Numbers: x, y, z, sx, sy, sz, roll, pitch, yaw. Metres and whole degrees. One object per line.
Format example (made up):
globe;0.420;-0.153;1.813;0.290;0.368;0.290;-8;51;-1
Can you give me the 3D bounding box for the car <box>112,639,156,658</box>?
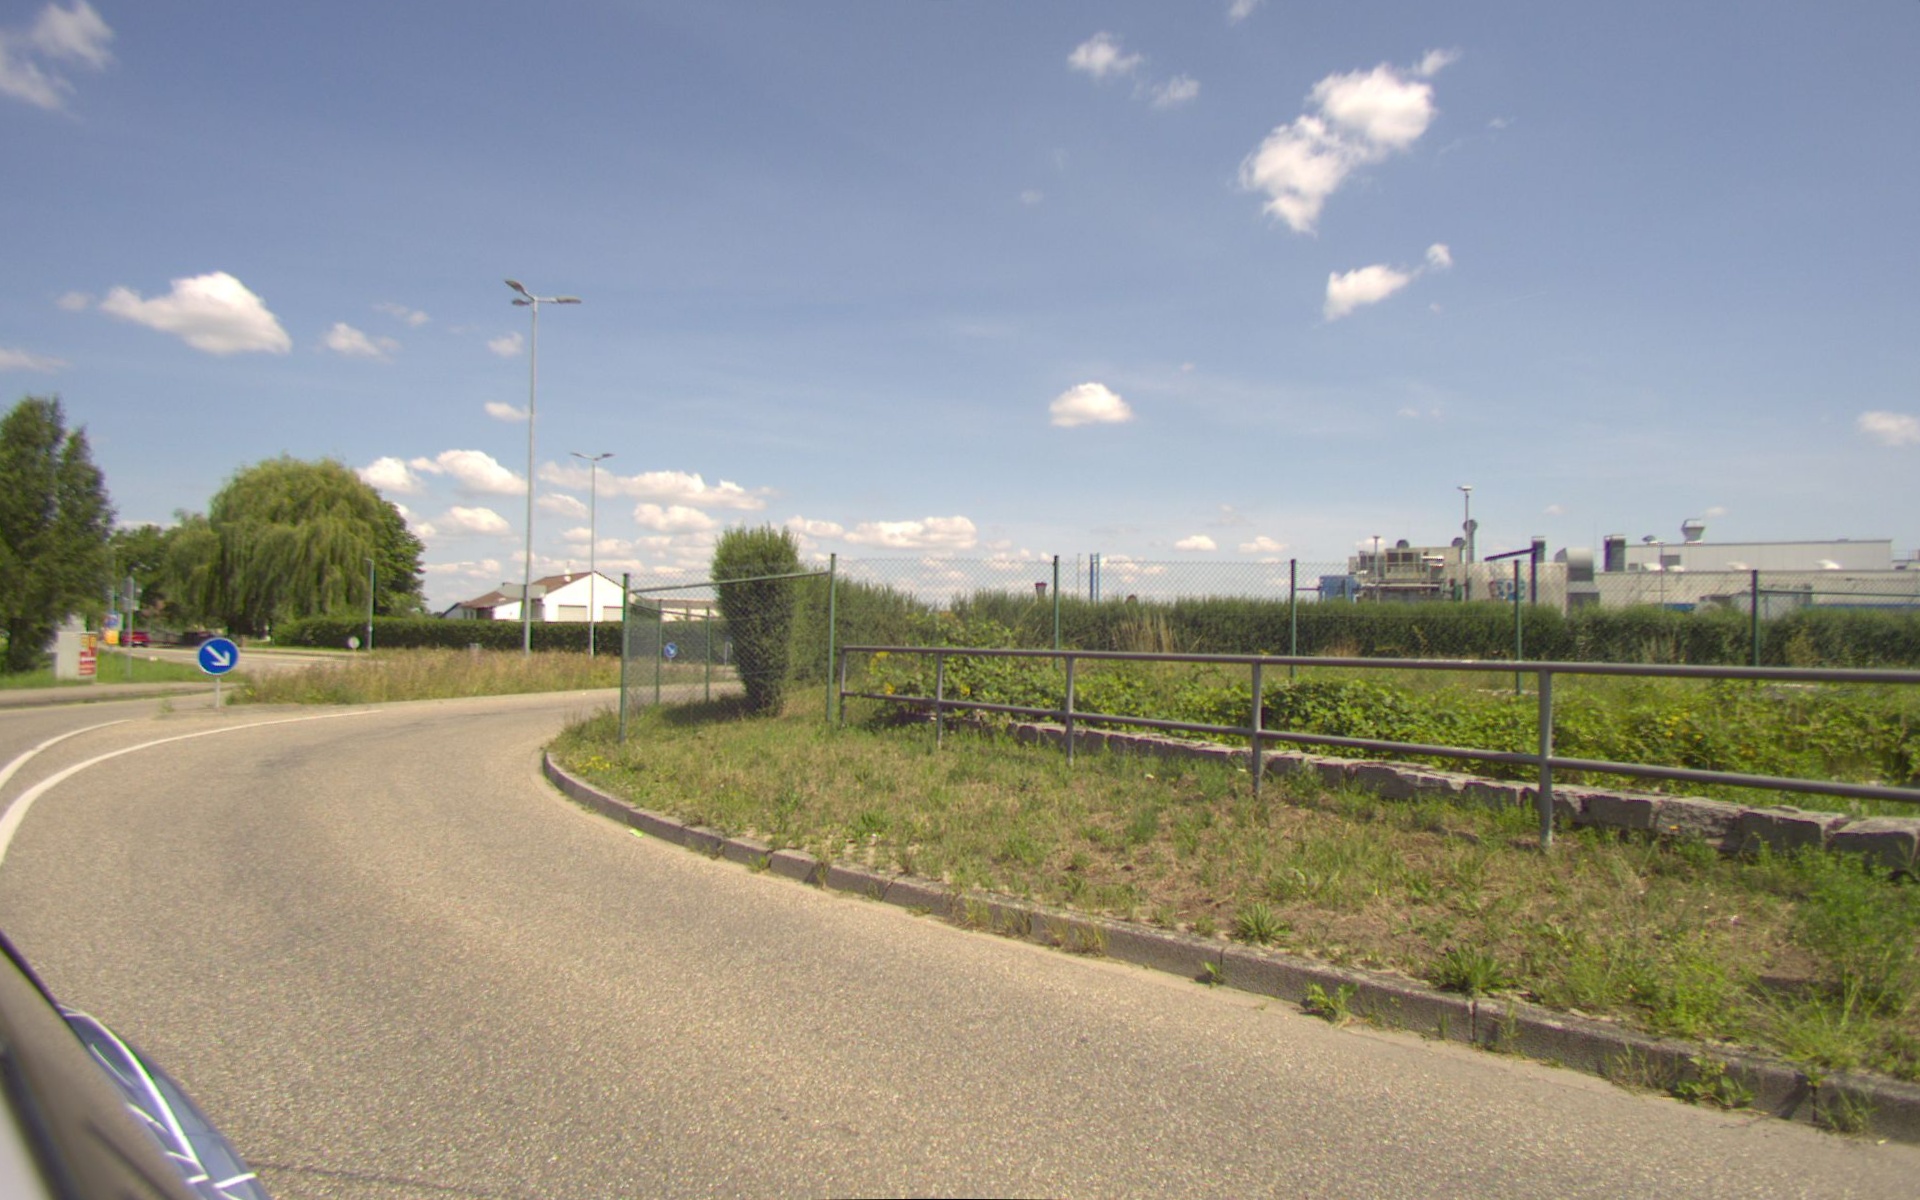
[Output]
car;-68.476;4.003;83.875;4.381;1.475;1.861;-2;-4;39
